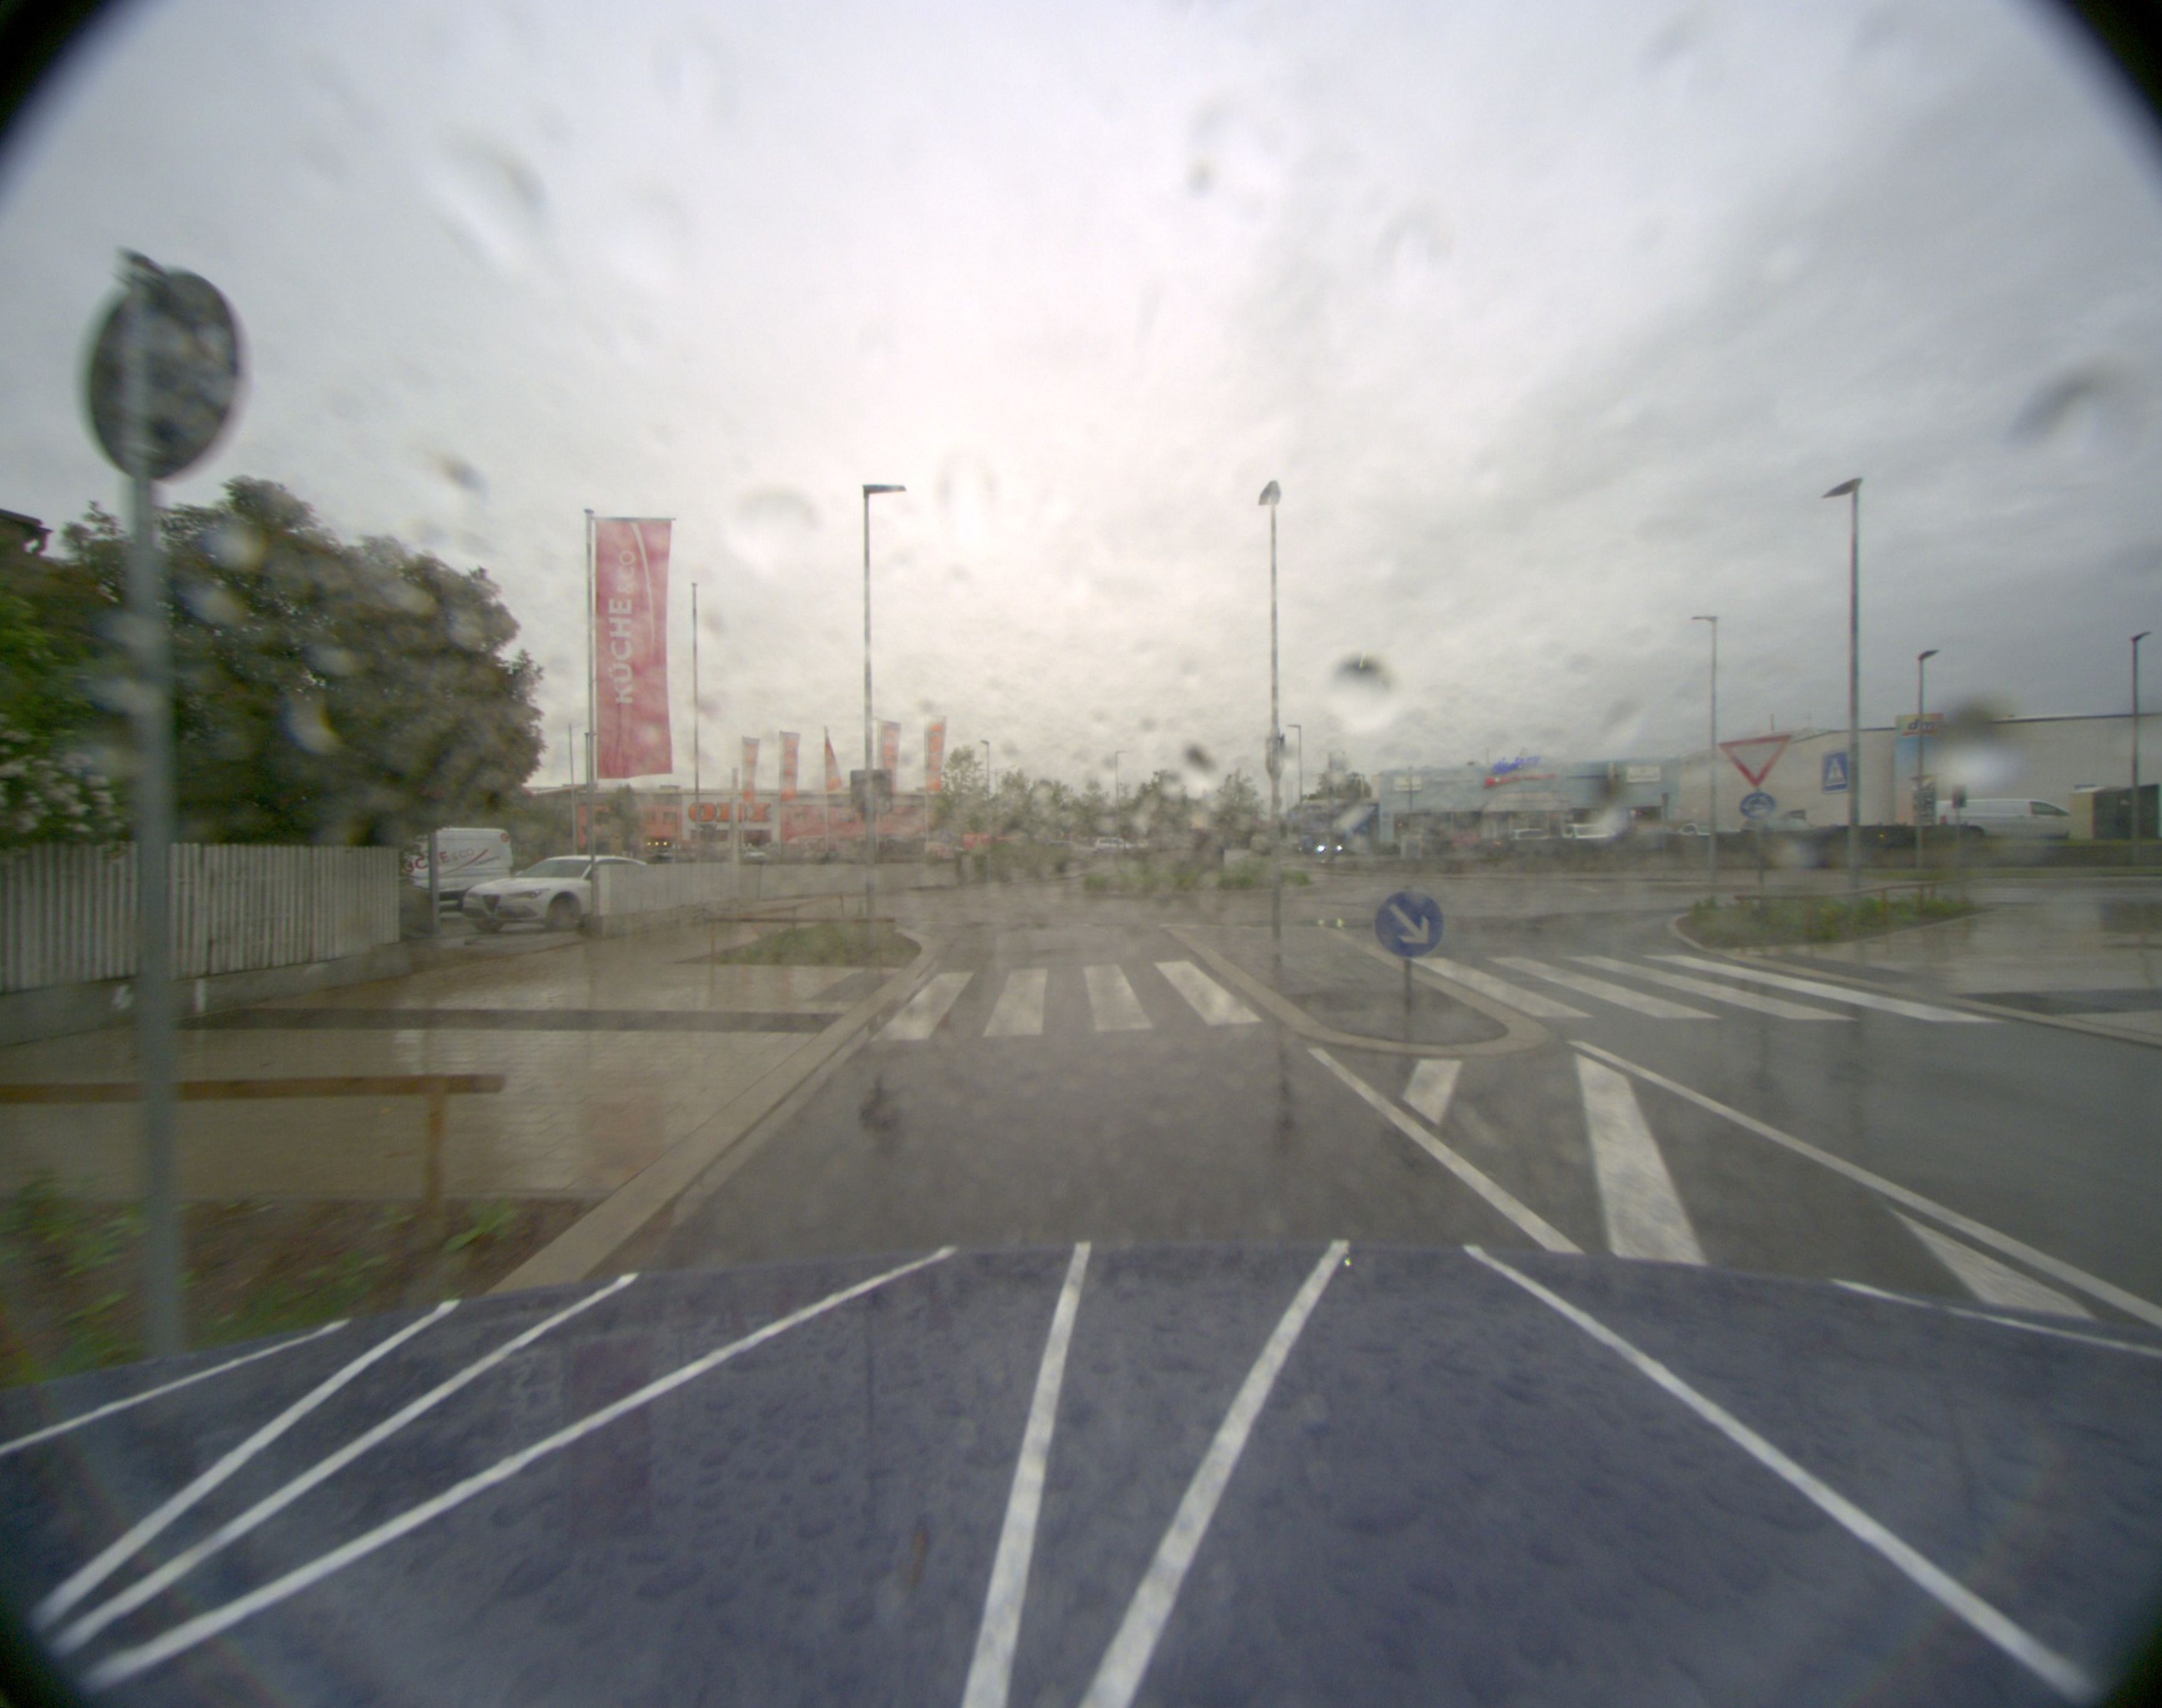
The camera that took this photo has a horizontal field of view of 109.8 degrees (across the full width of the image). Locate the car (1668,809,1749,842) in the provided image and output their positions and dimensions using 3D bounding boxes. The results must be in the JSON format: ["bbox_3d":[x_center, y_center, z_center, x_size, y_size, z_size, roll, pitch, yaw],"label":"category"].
[{"bbox_3d":[29.409,-1.309,35.749,1.884,1.288,4.006,-4,0,24],"label":"car"}]

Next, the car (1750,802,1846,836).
[{"bbox_3d":[32.294,-1.519,34.354,1.884,1.288,4.006,-4,0,24],"label":"car"}]

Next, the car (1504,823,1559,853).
[{"bbox_3d":[22.645,-0.819,38.326,1.884,1.288,4.006,-4,0,24],"label":"car"}]

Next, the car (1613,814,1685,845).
[{"bbox_3d":[27.339,-1.167,36.703,1.884,1.288,4.006,-4,0,24],"label":"car"}]

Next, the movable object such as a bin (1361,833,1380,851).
[{"bbox_3d":[22.086,-0.914,57.942,1.212,1.288,1.481,-4,0,24],"label":"movable object such as a bin"}]

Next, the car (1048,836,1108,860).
[{"bbox_3d":[-0.226,-0.455,57.561,4.095,1.696,2.004,-2,0,28],"label":"car"}]

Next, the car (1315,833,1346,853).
[{"bbox_3d":[21.236,-0.930,64.576,1.917,1.521,4.007,-3,0,26],"label":"car"}]

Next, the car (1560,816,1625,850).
[{"bbox_3d":[25.369,-0.995,37.808,1.790,1.543,4.006,-2,0,21],"label":"car"}]

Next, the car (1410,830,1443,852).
[{"bbox_3d":[23.571,-0.899,51.877,1.884,1.288,4.006,-4,0,24],"label":"car"}]

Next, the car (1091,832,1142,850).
[{"bbox_3d":[3.176,-1.131,67.086,3.990,1.433,2.003,-2,0,25],"label":"car"}]

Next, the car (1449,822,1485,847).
[{"bbox_3d":[25.894,-1.279,51.111,1.884,1.477,4.006,-4,0,24],"label":"car"}]

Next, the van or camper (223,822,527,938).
[{"bbox_3d":[-17.608,0.602,19.420,2.125,2.525,5.271,-1,0,19],"label":"van or camper"}]

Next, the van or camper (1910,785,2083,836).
[{"bbox_3d":[39.672,-1.852,33.100,4.372,1.751,1.891,-4,0,24],"label":"van or camper"}]

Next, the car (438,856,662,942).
[{"bbox_3d":[-11.690,0.911,17.149,1.845,1.681,4.172,-1,0,6],"label":"car"}]
